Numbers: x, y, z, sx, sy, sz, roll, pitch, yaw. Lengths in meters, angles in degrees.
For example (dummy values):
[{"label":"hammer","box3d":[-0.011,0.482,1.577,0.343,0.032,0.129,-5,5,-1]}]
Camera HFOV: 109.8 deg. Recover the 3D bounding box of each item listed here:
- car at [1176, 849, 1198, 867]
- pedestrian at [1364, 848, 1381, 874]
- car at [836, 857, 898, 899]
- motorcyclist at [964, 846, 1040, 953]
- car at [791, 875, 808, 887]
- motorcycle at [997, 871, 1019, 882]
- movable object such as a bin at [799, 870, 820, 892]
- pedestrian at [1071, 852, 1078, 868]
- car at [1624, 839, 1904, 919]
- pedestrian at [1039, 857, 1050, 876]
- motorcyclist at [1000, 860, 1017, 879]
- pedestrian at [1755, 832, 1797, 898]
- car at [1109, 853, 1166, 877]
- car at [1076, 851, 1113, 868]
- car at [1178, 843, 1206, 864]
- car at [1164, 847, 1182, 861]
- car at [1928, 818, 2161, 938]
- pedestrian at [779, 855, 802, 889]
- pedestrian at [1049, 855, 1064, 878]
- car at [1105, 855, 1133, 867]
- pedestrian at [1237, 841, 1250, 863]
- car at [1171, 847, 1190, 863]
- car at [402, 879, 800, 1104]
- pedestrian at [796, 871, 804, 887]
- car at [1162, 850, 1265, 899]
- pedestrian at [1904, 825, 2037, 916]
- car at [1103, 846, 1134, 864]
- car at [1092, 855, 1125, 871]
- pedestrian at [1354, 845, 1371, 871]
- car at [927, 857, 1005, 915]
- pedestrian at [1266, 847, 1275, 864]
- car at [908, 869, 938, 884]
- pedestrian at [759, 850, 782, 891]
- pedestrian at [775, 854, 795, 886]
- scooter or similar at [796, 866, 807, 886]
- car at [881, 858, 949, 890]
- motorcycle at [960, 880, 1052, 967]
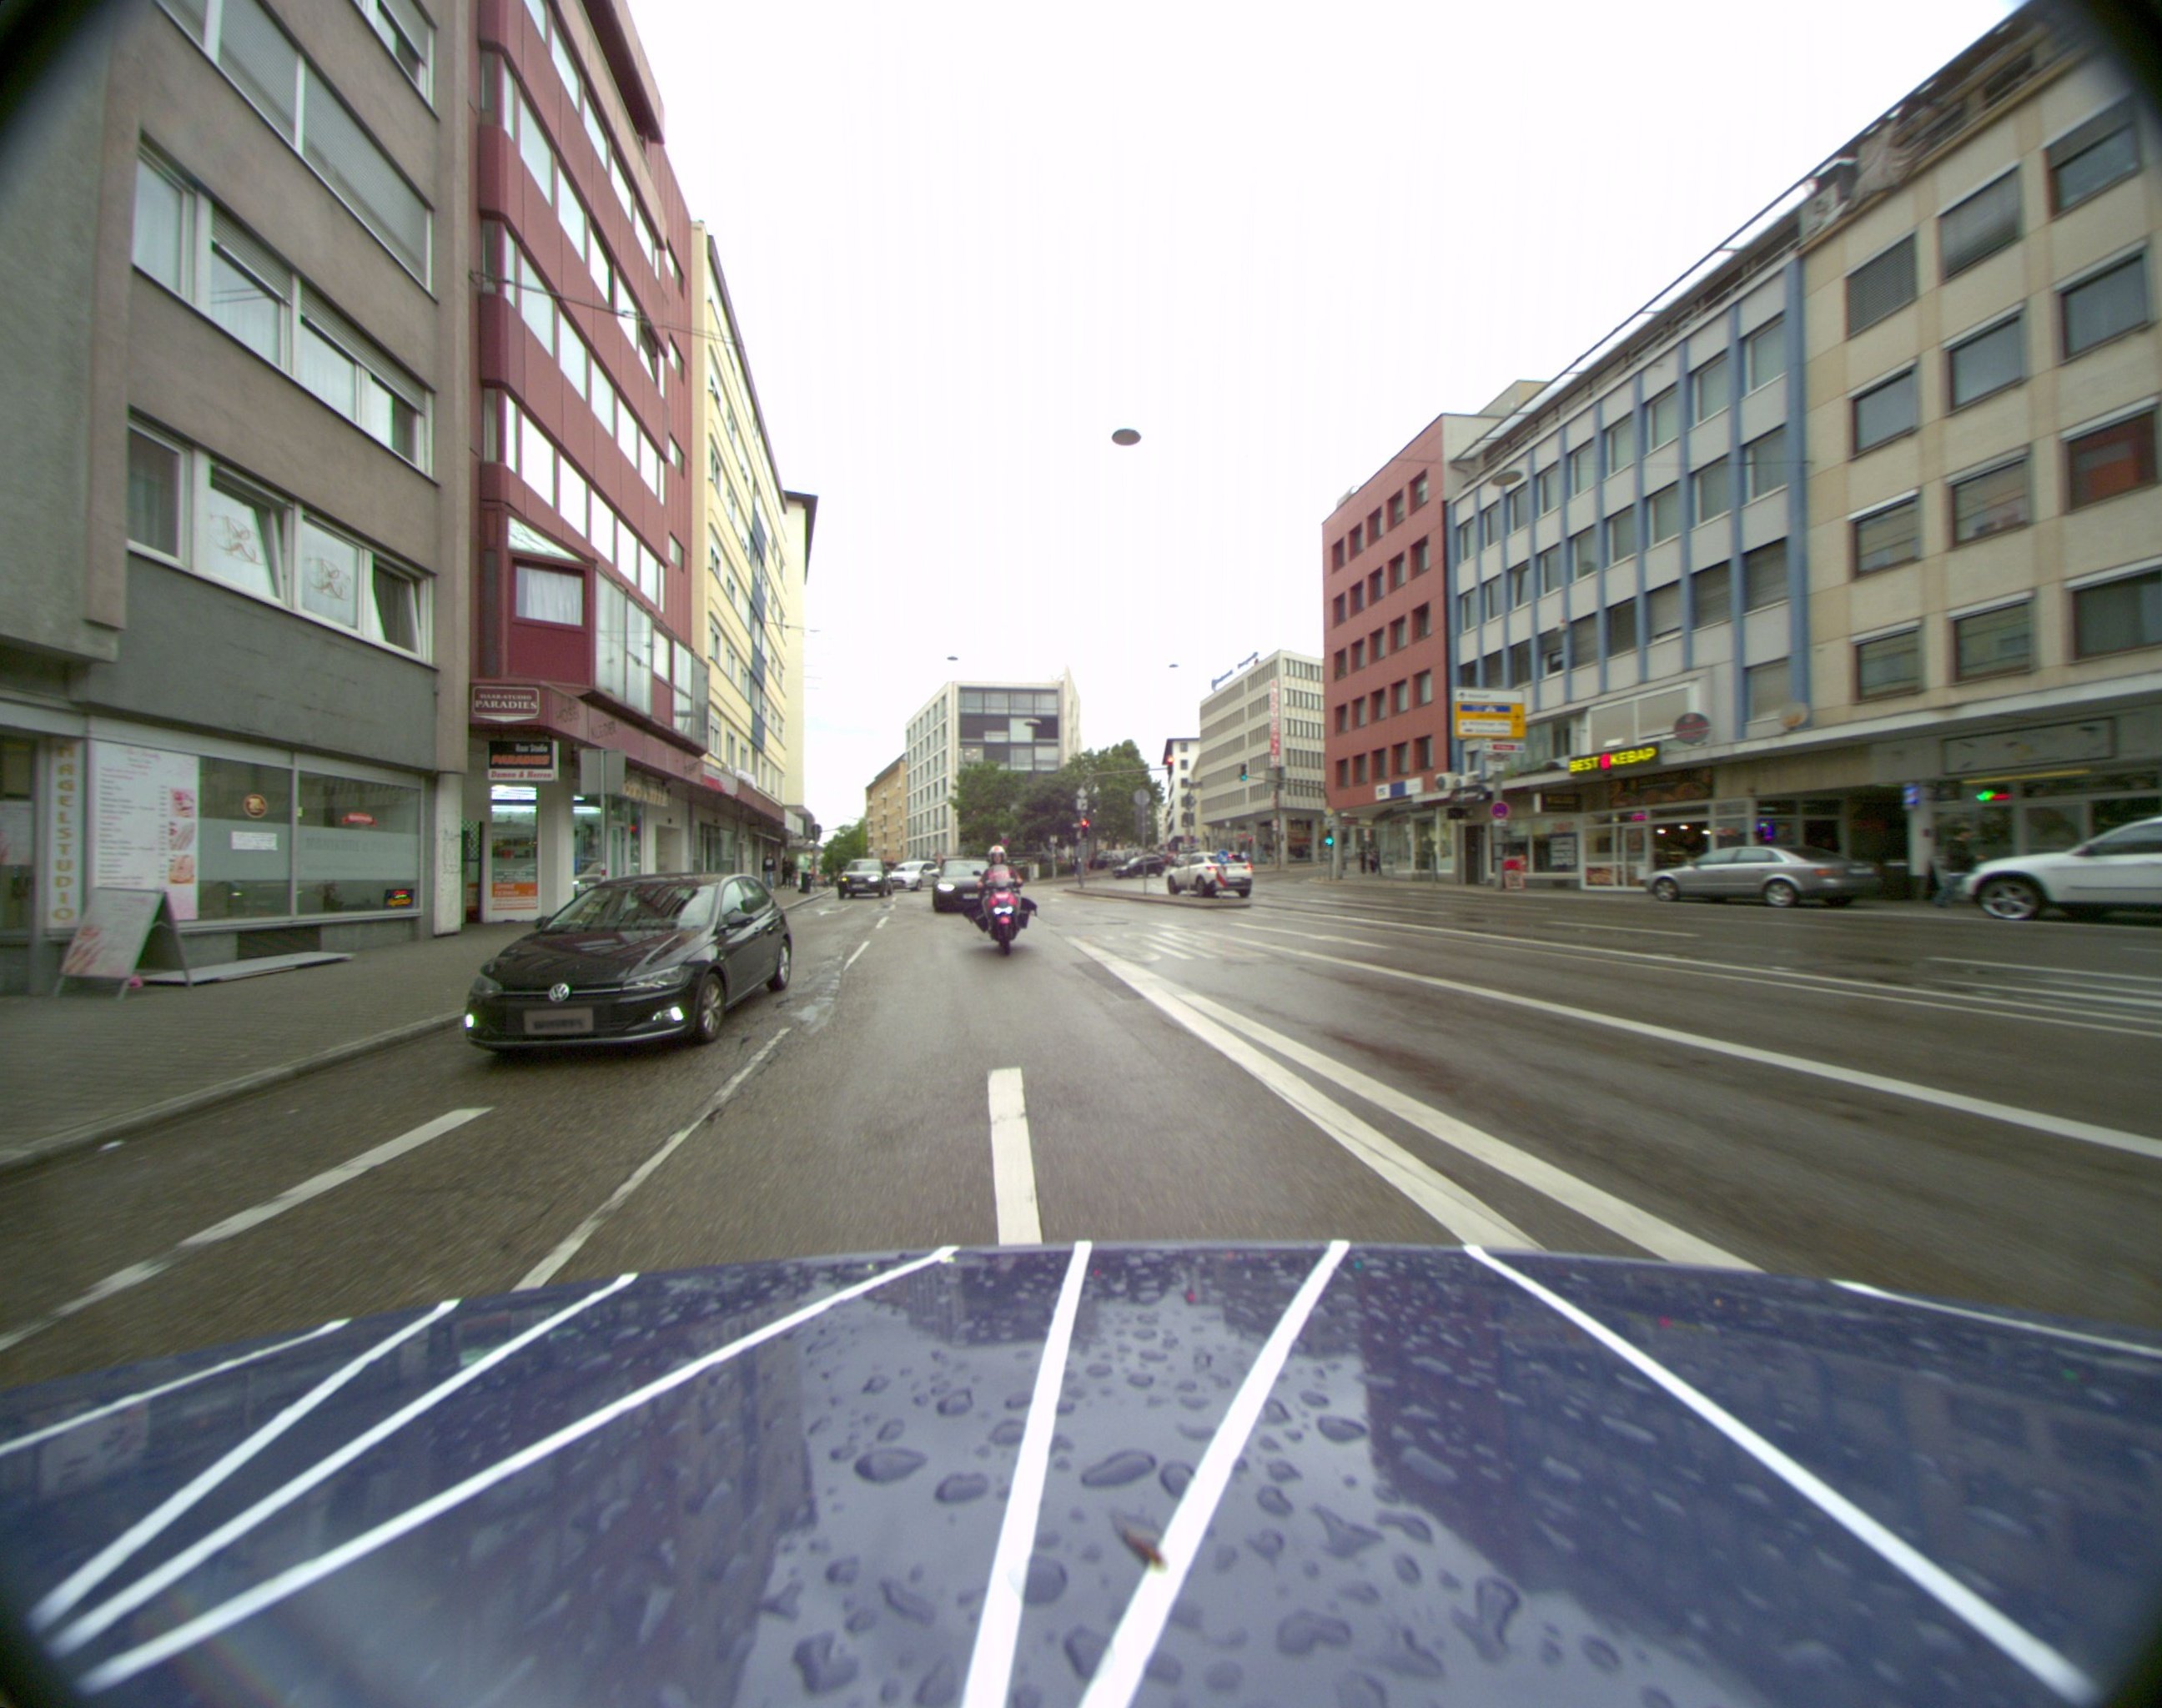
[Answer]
[{"label":"car","box3d":[10.768,0.410,77.283,2.000,1.621,4.617,-3,-1,6]},{"label":"pedestrian","box3d":[19.024,0.443,49.634,0.734,1.620,0.693,-3,0,-37]},{"label":"car","box3d":[-8.866,0.949,31.736,1.872,1.538,4.101,-3,0,-8]},{"label":"motorcyclist","box3d":[-1.276,0.697,12.099,1.093,1.595,0.952,-2,0,-8]},{"label":"car","box3d":[-37.228,3.620,100.409,1.788,1.444,3.993,-3,-1,-24]},{"label":"motorcycle","box3d":[-5.754,1.749,60.102,0.713,0.837,2.390,-2,0,-32]},{"label":"movable object such as a bin","box3d":[-11.937,1.204,33.406,0.531,0.928,0.674,3,-1,24]},{"label":"pedestrian","box3d":[-0.702,0.671,86.676,0.592,1.802,0.704,-4,-1,6]},{"label":"car","box3d":[15.979,0.526,18.228,1.871,1.599,4.876,-2,0,-9]},{"label":"pedestrian","box3d":[-3.513,1.215,72.446,0.789,1.802,0.592,-3,-1,-19]},{"label":"motorcyclist","box3d":[-5.744,1.204,59.996,0.913,1.434,1.111,-2,1,-31]},{"label":"pedestrian","box3d":[18.196,0.288,19.898,0.447,1.698,0.583,-3,0,-10]},{"label":"car","box3d":[4.330,0.832,58.125,4.007,1.673,1.995,-2,0,-39]},{"label":"car","box3d":[1.382,0.576,79.043,3.541,1.550,1.741,-3,1,9]},{"label":"car","box3d":[12.071,0.002,82.888,2.096,2.078,4.614,-3,-1,-2]},{"label":"car","box3d":[11.909,0.024,98.643,1.932,1.662,4.447,-3,-1,3]},{"label":"car","box3d":[17.133,0.336,11.877,1.855,1.816,4.959,-2,0,-9]},{"label":"pedestrian","box3d":[-15.189,0.931,39.742,0.753,1.712,0.754,-3,0,10]},{"label":"pedestrian","box3d":[-1.959,1.007,61.450,0.784,1.739,0.788,-7,0,-19]},{"label":"car","box3d":[4.540,0.842,90.497,3.044,1.176,2.053,-3,1,9]},{"label":"pedestrian","box3d":[15.084,-0.210,70.572,0.993,2.002,0.947,-1,1,4]},{"label":"car","box3d":[12.025,0.175,91.731,2.025,1.739,4.616,-3,-1,5]},{"label":"car","box3d":[-4.123,1.034,7.370,1.743,1.422,3.877,-1,0,-7]},{"label":"pedestrian","box3d":[-28.820,2.576,77.932,0.738,1.636,0.641,-3,0,-21]},{"label":"car","box3d":[4.752,0.739,27.940,2.001,1.542,4.423,-3,-1,-15]},{"label":"pedestrian","box3d":[18.065,0.331,15.471,0.955,1.708,1.418,-3,0,-12]},{"label":"car","box3d":[5.167,0.093,104.330,3.828,2.252,1.988,-3,1,20]},{"label":"car","box3d":[3.152,1.041,87.088,3.542,1.550,1.740,-3,1,6]},{"label":"pedestrian","box3d":[18.905,0.275,51.004,0.744,1.737,0.731,-3,0,-39]},{"label":"car","box3d":[-3.434,0.854,22.530,2.000,1.482,4.730,-2,0,-10]},{"label":"pedestrian","box3d":[18.004,0.129,72.054,0.714,1.613,0.724,-1,1,8]},{"label":"car","box3d":[-14.485,2.055,69.423,1.977,1.379,3.993,1,-2,-23]},{"label":"pedestrian","box3d":[-13.606,0.732,33.320,0.839,1.753,0.617,3,-3,-19]},{"label":"pedestrian","box3d":[-16.478,0.892,42.331,0.616,1.752,0.789,-3,0,10]},{"label":"scooter or similar","box3d":[-20.117,1.588,54.689,0.377,1.352,1.148,-2,0,-7]},{"label":"car","box3d":[-8.687,1.018,40.143,1.997,1.574,4.107,-1,0,11]},{"label":"motorcycle","box3d":[-1.257,1.047,12.184,1.314,1.129,2.183,-2,1,-9]}]
